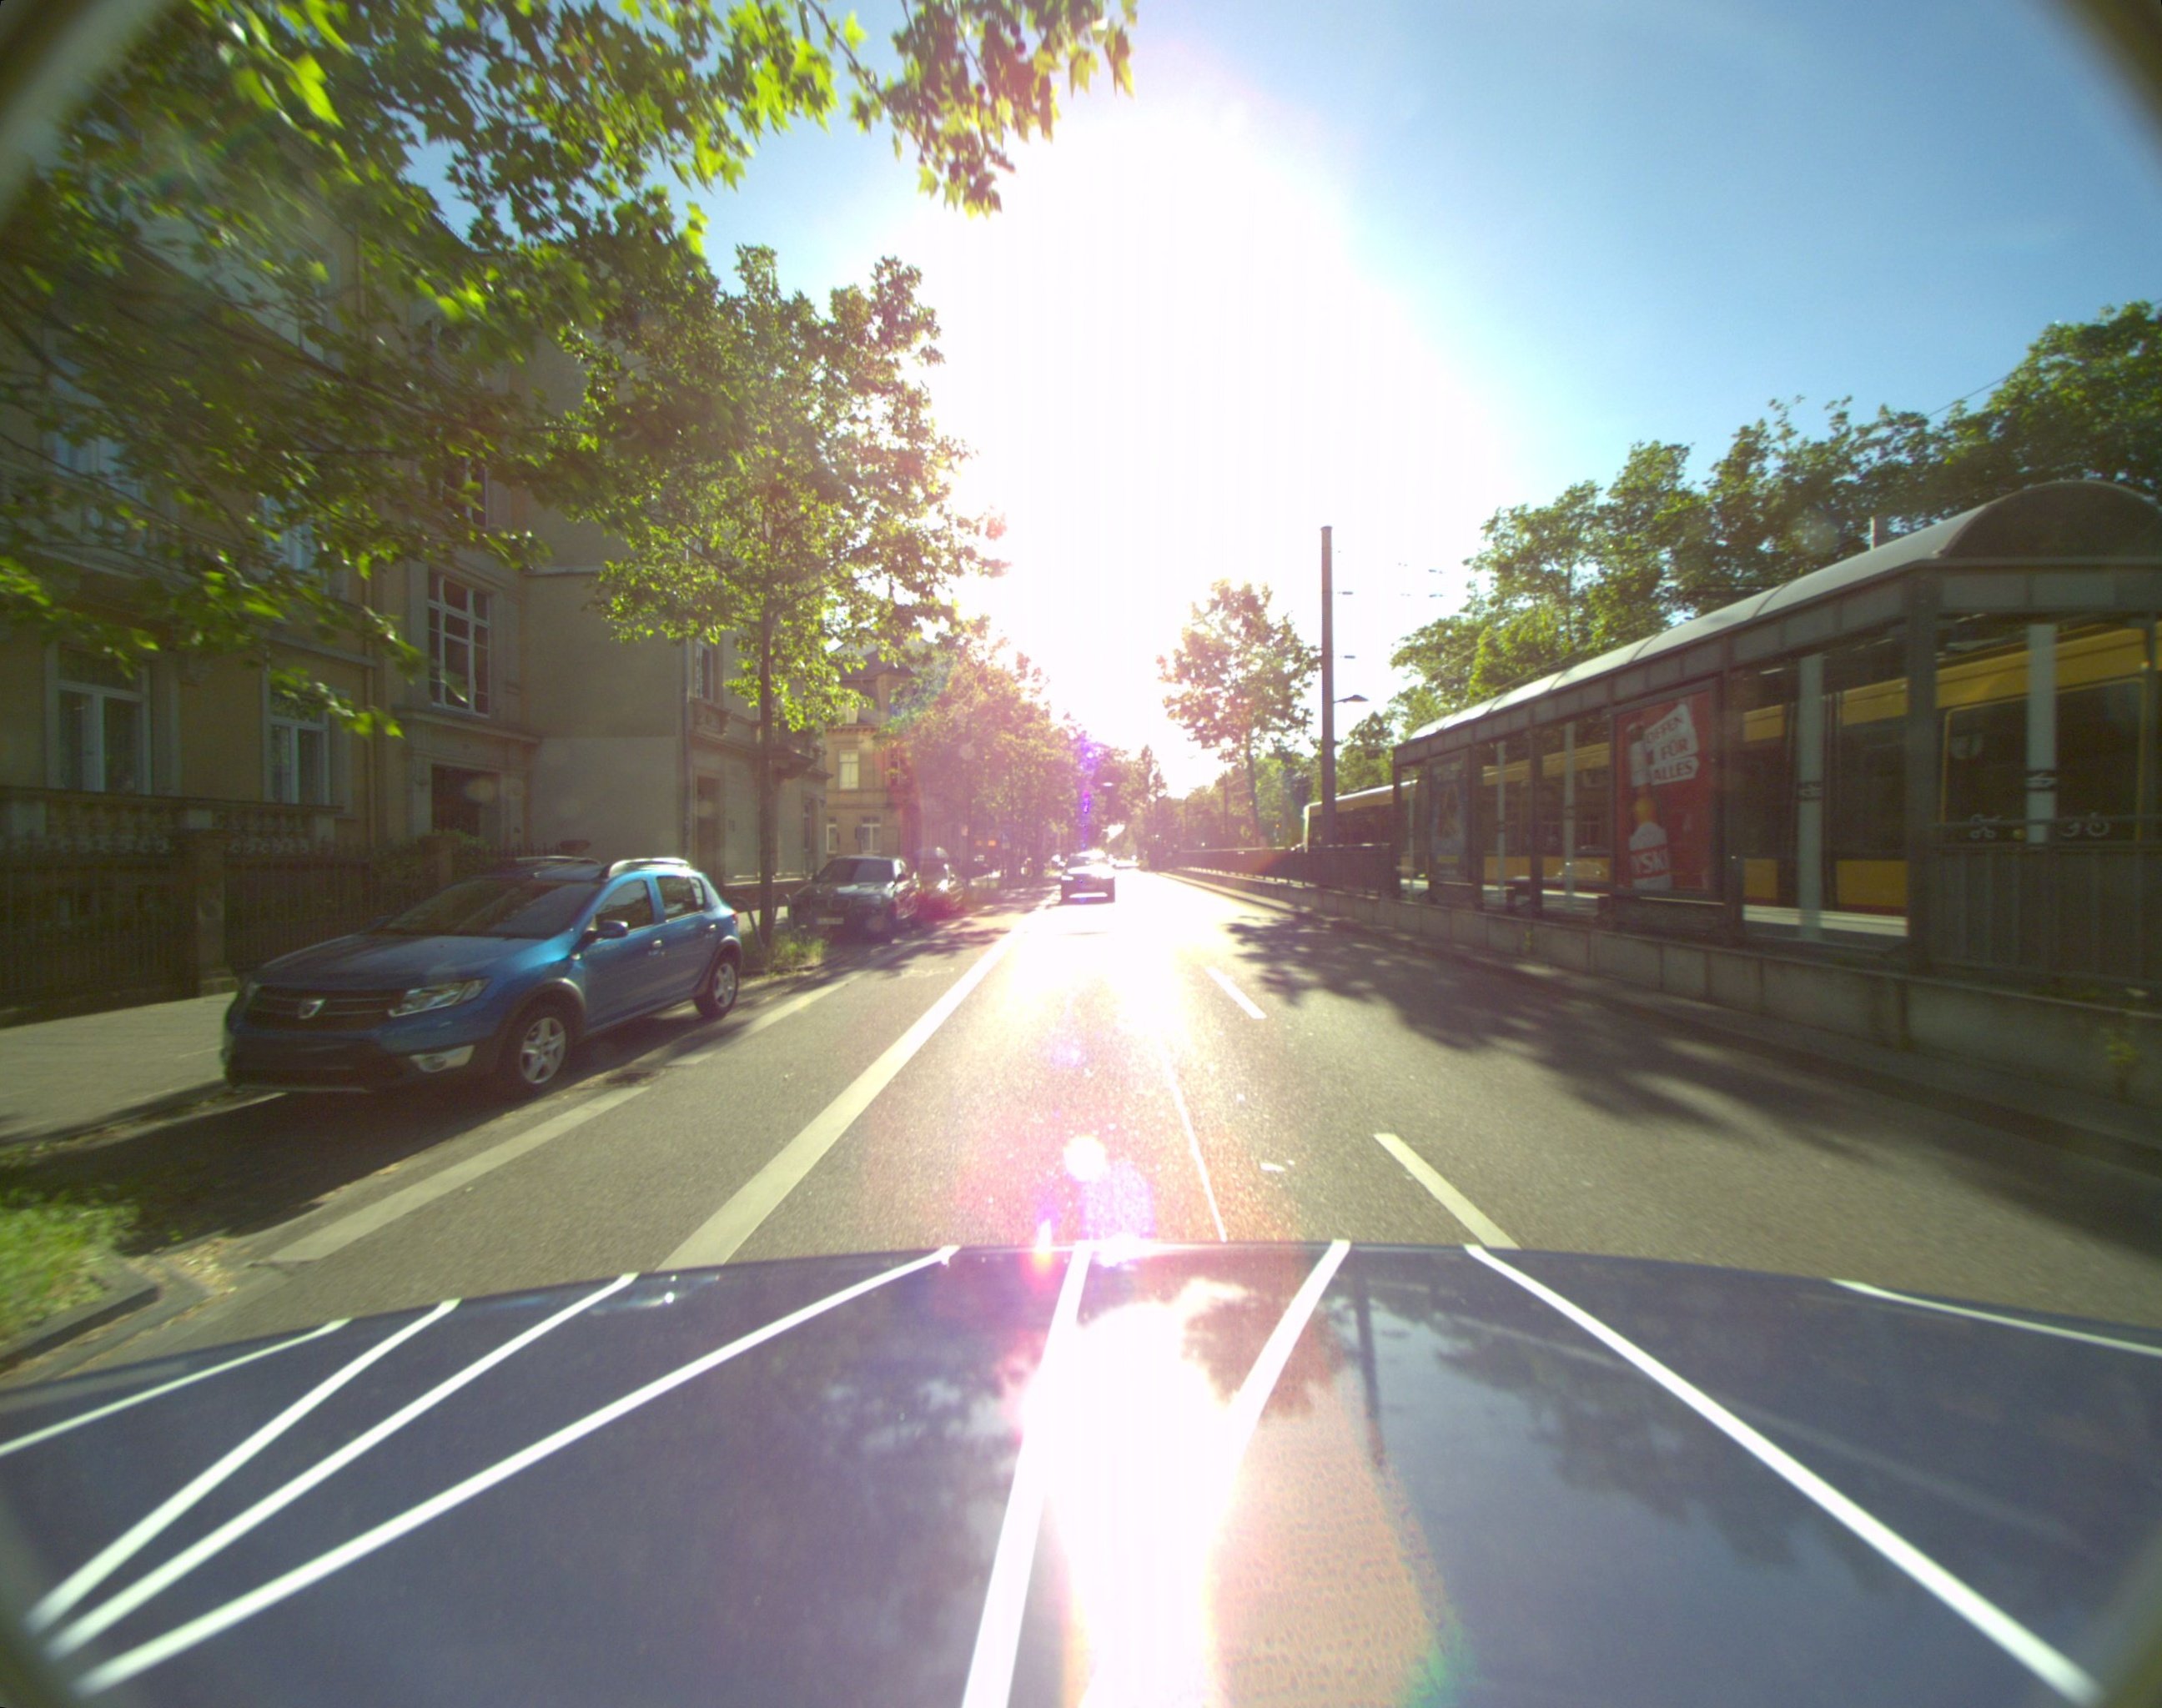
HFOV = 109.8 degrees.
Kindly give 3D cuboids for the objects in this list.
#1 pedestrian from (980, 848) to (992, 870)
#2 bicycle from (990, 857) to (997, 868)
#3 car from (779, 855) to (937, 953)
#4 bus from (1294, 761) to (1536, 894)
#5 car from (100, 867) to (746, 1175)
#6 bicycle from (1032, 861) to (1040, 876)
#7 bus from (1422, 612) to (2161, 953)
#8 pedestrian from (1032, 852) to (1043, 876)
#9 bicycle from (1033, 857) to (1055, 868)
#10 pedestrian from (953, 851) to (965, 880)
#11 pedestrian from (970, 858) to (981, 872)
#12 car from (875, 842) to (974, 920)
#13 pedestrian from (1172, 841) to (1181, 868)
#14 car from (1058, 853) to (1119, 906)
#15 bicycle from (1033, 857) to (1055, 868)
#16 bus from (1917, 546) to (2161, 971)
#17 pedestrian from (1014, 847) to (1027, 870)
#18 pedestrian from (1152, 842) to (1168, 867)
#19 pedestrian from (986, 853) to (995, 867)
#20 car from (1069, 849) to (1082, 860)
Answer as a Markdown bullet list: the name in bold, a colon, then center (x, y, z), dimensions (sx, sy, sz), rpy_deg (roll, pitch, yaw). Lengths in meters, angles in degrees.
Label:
- **pedestrian**: center (-7.962, 0.432, 63.634), dimensions (0.468, 1.800, 0.775), rpy_deg (-2, 0, 33)
- **bicycle**: center (-7.992, 0.810, 69.581), dimensions (0.444, 0.987, 1.688), rpy_deg (-3, 0, 0)
- **car**: center (-4.413, 0.892, 15.853), dimensions (1.802, 1.690, 4.737), rpy_deg (-1, 0, 1)
- **bus**: center (10.579, -0.679, 26.464), dimensions (2.876, 3.424, 13.217), rpy_deg (-1, 0, 1)
- **car**: center (-4.496, 0.947, 6.179), dimensions (1.696, 1.648, 4.040), rpy_deg (-1, -1, 1)
- **bicycle**: center (-3.164, 1.013, 53.740), dimensions (0.429, 0.964, 1.750), rpy_deg (-3, 0, 1)
- **bus**: center (10.282, -0.717, 13.831), dimensions (2.876, 3.424, 12.215), rpy_deg (-1, 0, 1)
- **pedestrian**: center (-3.291, 0.750, 57.791), dimensions (0.643, 1.761, 0.869), rpy_deg (-2, 0, 7)
- **bicycle**: center (-3.523, 0.820, 72.334), dimensions (2.009, 0.987, 0.444), rpy_deg (-3, 0, -1)
- **pedestrian**: center (-7.665, 0.733, 47.824), dimensions (0.565, 1.816, 0.959), rpy_deg (-3, 0, -2)
- **pedestrian**: center (-8.753, 0.930, 63.176), dimensions (0.653, 1.154, 0.672), rpy_deg (-3, 0, -35)
- **car**: center (-4.329, 0.702, 21.774), dimensions (1.759, 1.953, 4.737), rpy_deg (-1, 0, 1)
- **pedestrian**: center (6.846, 0.035, 54.379), dimensions (0.452, 1.892, 0.584), rpy_deg (-1, 1, -6)
- **car**: center (0.351, 0.859, 27.356), dimensions (1.968, 1.664, 4.001), rpy_deg (-3, 0, 3)
- **bicycle**: center (-3.507, 0.807, 71.842), dimensions (2.019, 0.987, 0.444), rpy_deg (-3, 0, -1)
- **bus**: center (10.065, -0.795, 2.120), dimensions (2.876, 3.424, 11.611), rpy_deg (-1, 0, 1)
- **pedestrian**: center (-5.284, 0.411, 66.253), dimensions (0.884, 2.002, 0.857), rpy_deg (-3, 0, 5)
- **pedestrian**: center (6.080, 0.029, 58.584), dimensions (1.075, 1.905, 1.126), rpy_deg (-1, 1, -1)
- **pedestrian**: center (-7.728, 0.545, 64.667), dimensions (0.648, 1.154, 0.610), rpy_deg (-3, 0, -10)
- **car**: center (-0.774, 0.117, 108.131), dimensions (1.705, 1.415, 4.517), rpy_deg (-3, 0, 0)
